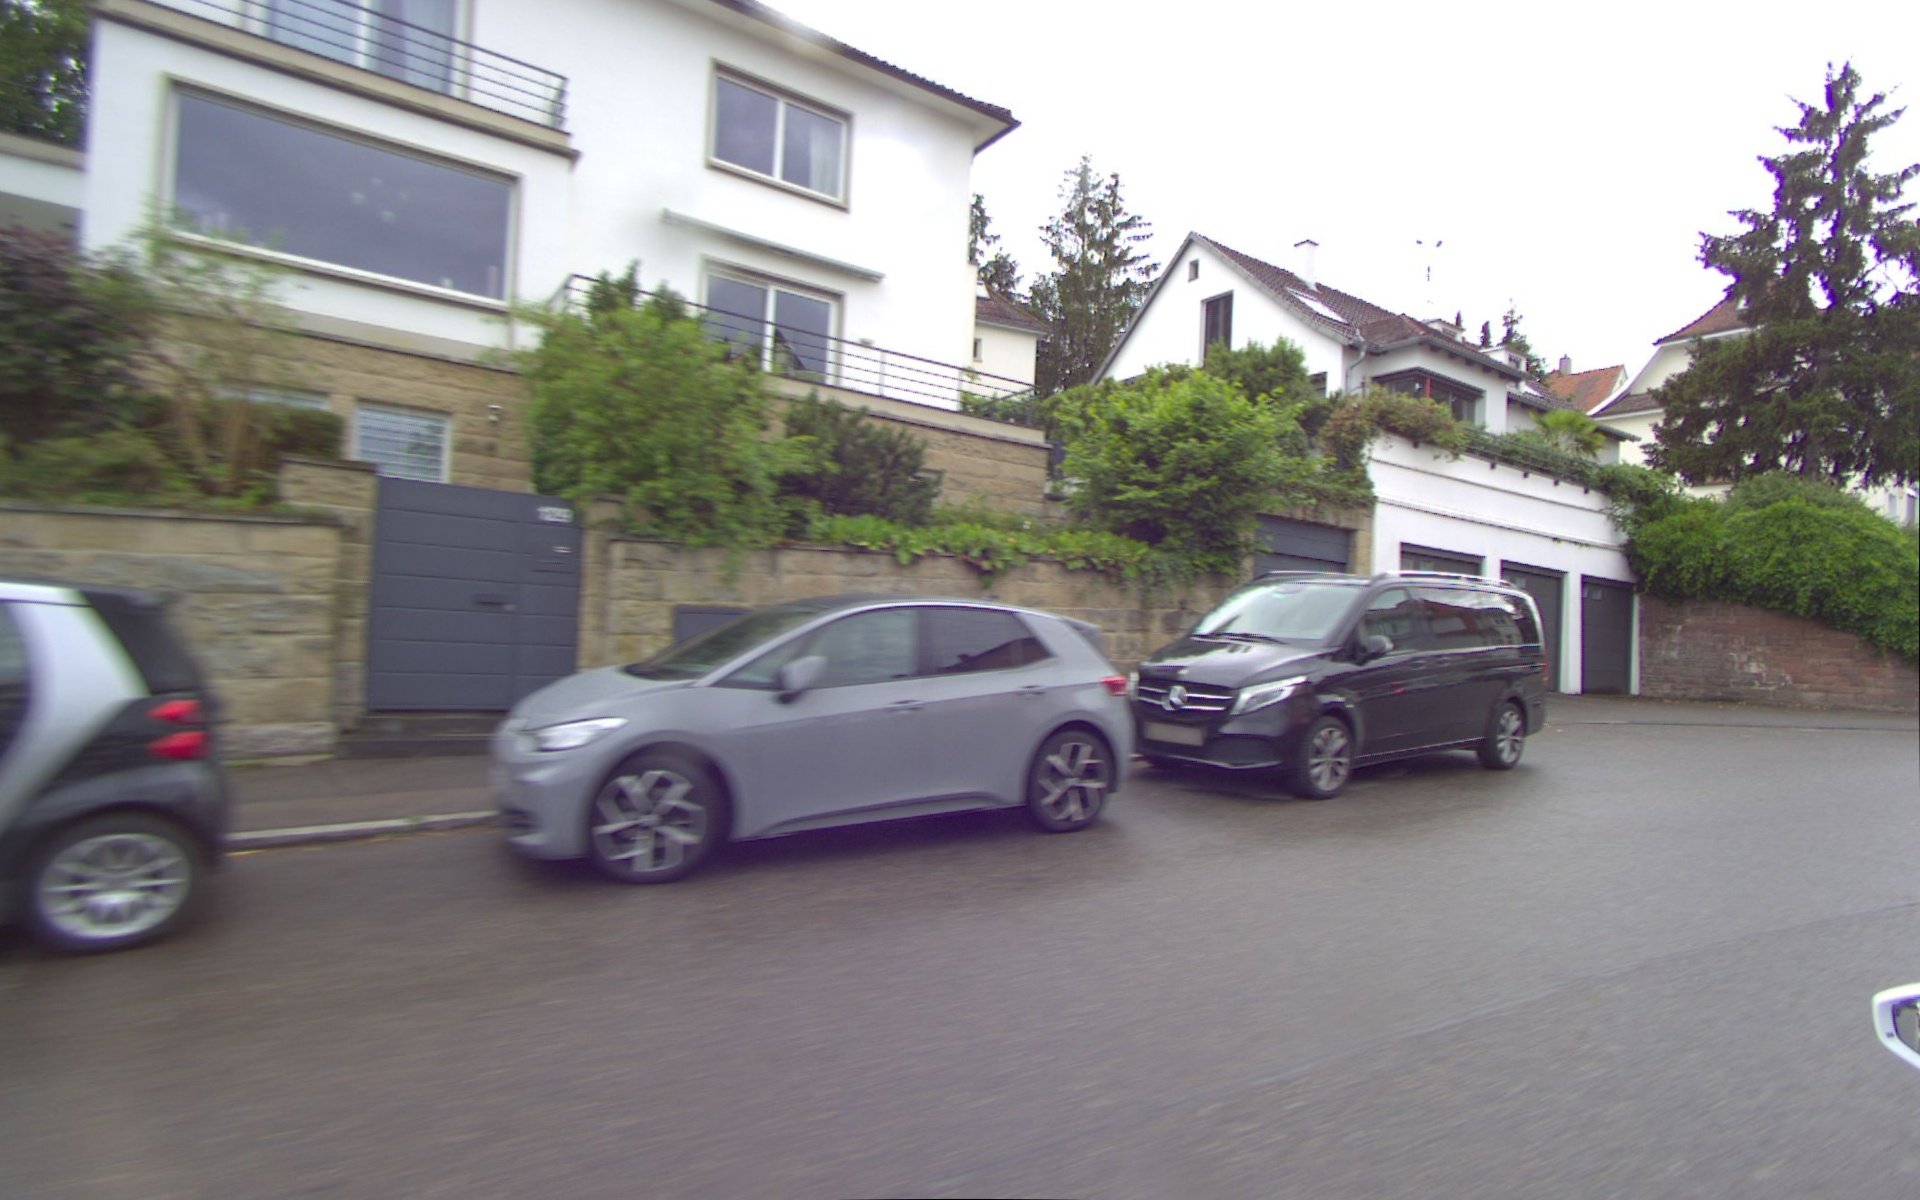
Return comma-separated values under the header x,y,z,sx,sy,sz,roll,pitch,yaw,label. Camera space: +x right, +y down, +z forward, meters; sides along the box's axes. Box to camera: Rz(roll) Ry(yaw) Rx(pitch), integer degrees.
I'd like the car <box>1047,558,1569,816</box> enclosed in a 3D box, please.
x,y,z,sx,sy,sz,roll,pitch,yaw,label
3.631,0.686,9.866,5.542,1.885,2.113,2,0,-37,car

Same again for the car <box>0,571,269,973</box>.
x,y,z,sx,sy,sz,roll,pitch,yaw,label
-4.699,0.647,4.008,3.130,1.544,1.485,1,-1,-38,car

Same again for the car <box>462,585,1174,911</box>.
x,y,z,sx,sy,sz,roll,pitch,yaw,label
-0.837,0.734,6.676,4.293,1.535,1.888,1,0,-31,car
